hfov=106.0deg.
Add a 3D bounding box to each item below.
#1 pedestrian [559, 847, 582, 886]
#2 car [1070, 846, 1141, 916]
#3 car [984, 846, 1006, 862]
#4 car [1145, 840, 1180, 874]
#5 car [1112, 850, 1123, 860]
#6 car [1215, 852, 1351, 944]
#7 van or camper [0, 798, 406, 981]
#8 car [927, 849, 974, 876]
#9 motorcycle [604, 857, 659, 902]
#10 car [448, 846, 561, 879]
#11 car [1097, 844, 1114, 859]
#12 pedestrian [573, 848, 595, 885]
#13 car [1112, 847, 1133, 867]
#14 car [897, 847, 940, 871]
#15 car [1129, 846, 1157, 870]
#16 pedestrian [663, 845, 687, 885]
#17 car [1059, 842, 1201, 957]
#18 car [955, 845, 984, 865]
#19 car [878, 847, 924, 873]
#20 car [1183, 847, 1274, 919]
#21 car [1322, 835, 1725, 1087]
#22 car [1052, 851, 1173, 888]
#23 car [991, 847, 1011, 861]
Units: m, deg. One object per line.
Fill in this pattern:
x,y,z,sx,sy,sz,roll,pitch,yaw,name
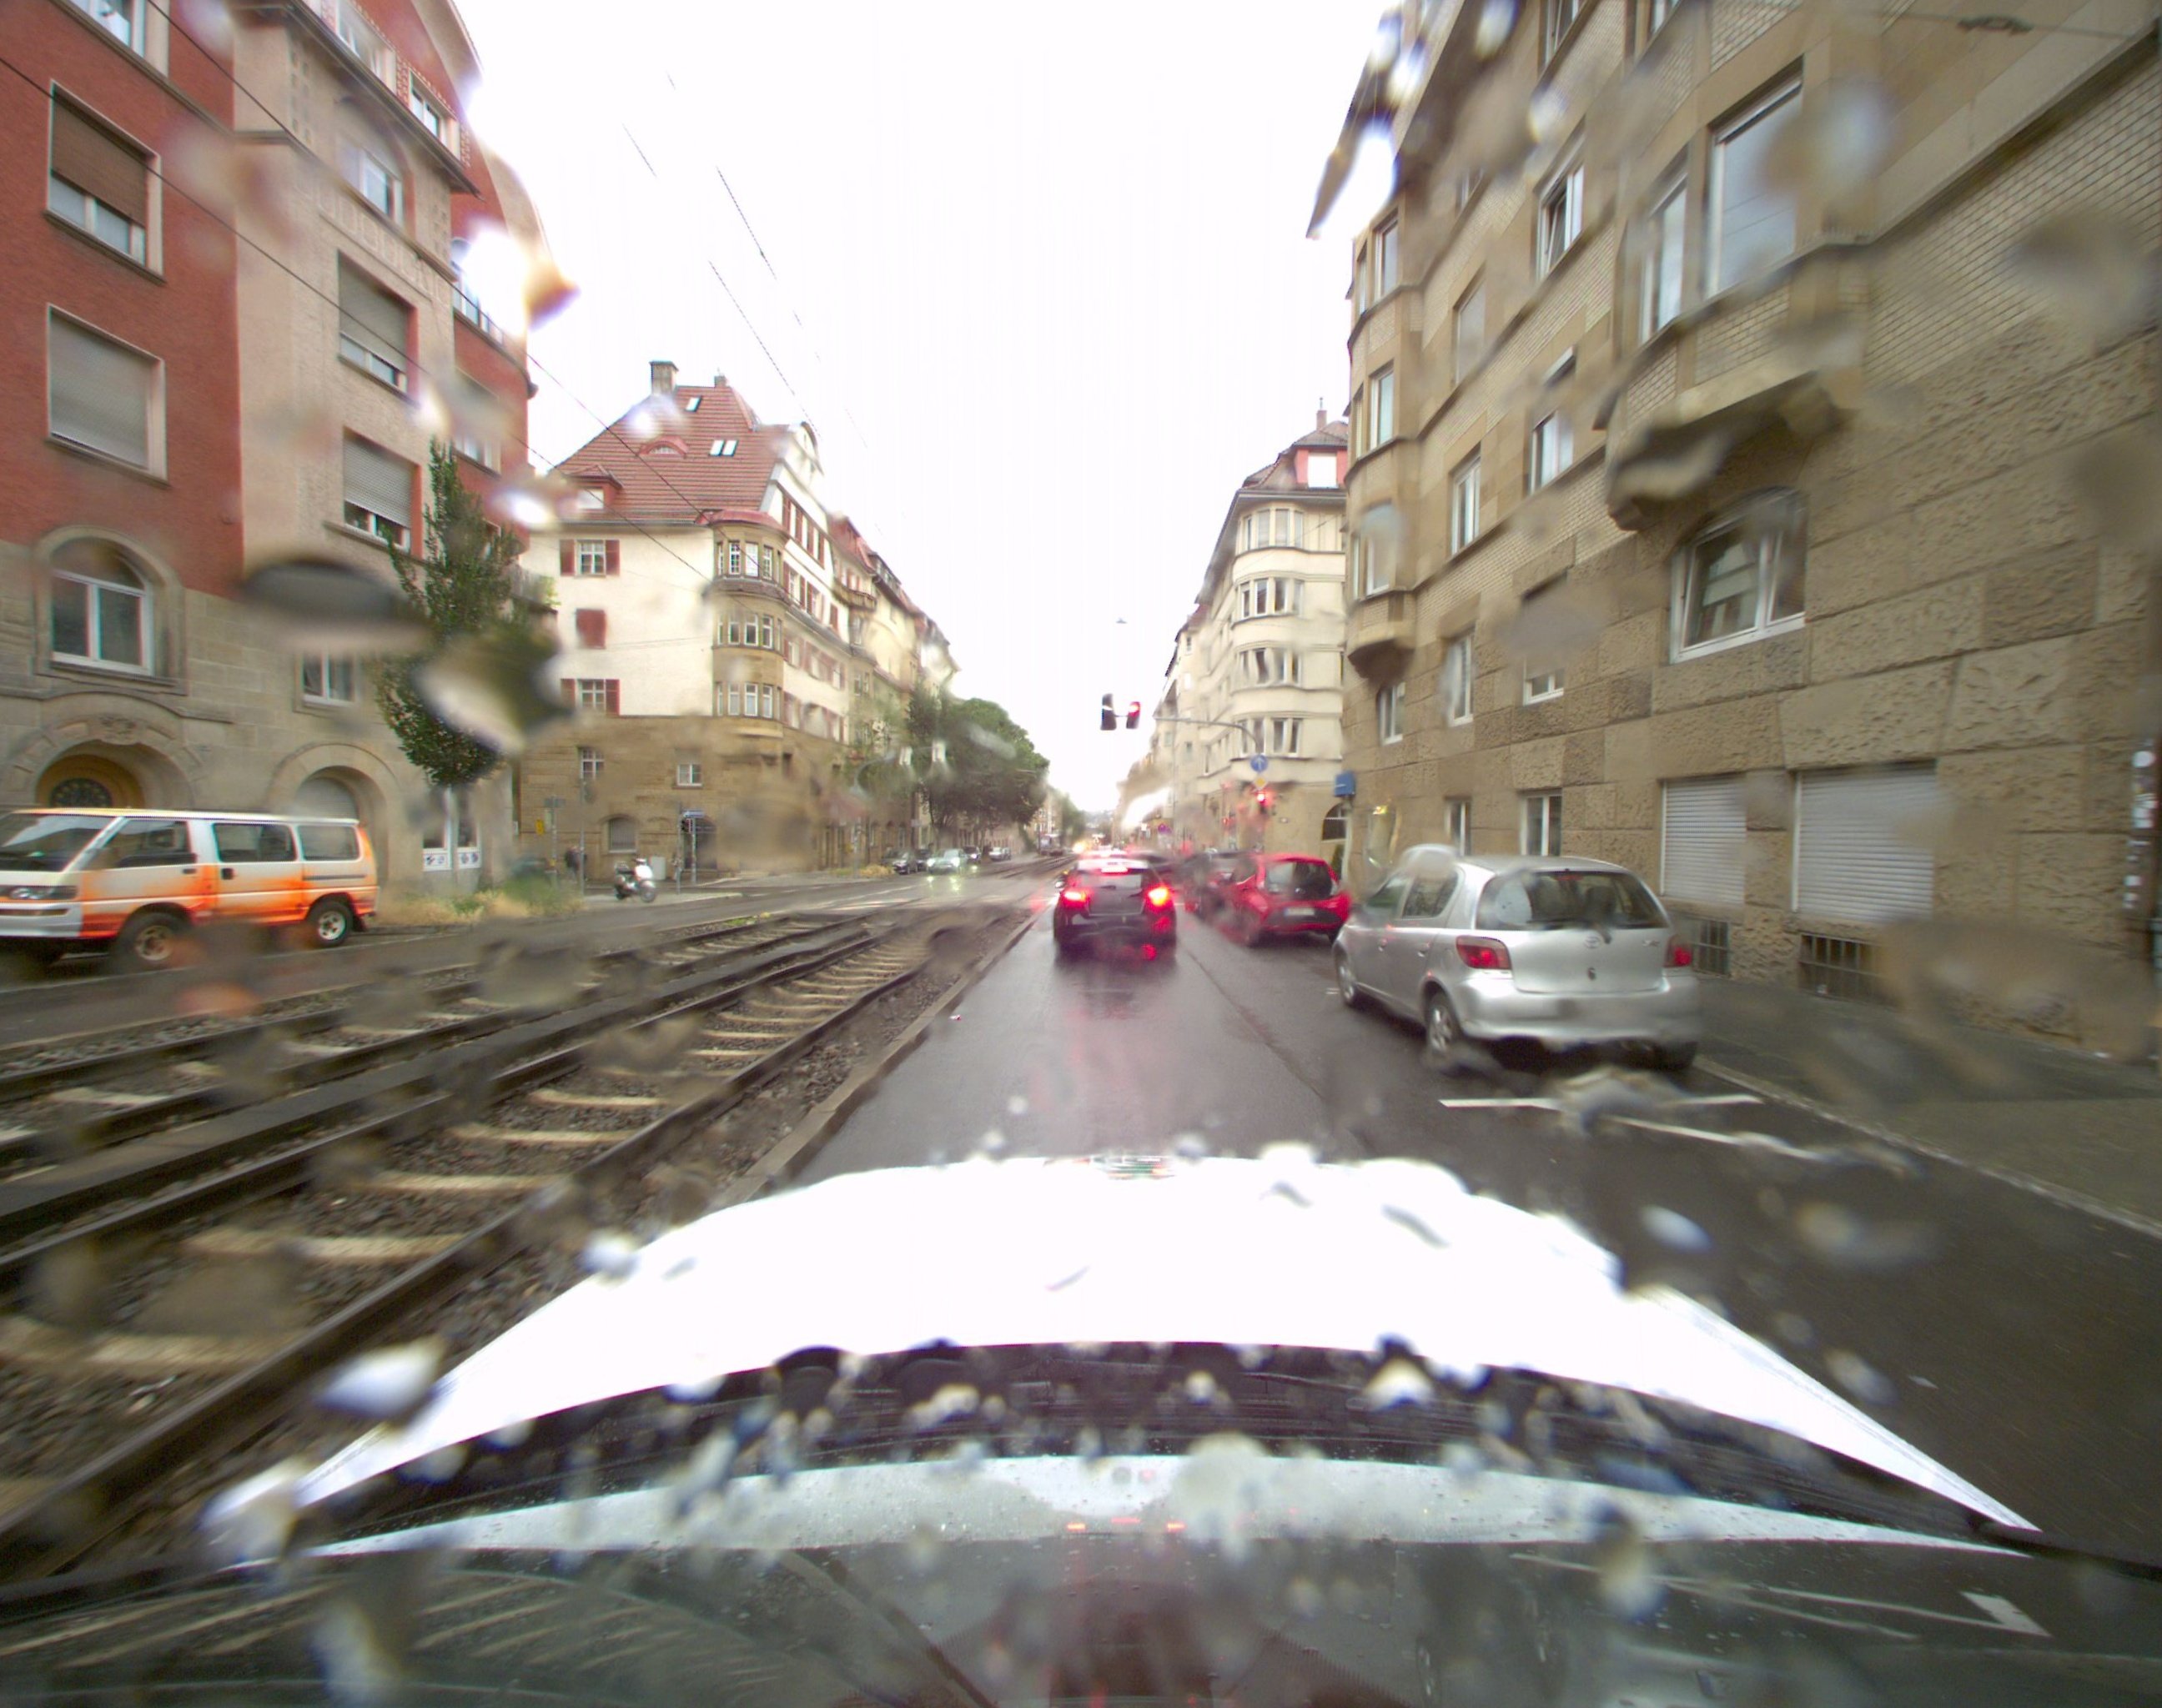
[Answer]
-23.216,0.565,37.017,0.605,1.733,0.643,1,0,2,pedestrian
0.612,0.590,19.863,1.530,1.510,4.002,1,0,2,car
-9.853,0.021,93.264,1.986,1.794,4.002,1,0,2,car
5.025,0.196,50.783,1.891,2.028,4.177,0,-1,2,car
6.596,0.128,145.711,1.902,1.706,4.002,0,0,2,car
3.387,0.676,14.180,1.597,1.419,3.148,0,0,0,car
-12.021,0.340,10.887,1.987,1.901,4.698,2,0,0,van or camper
-7.925,0.504,49.920,1.786,1.548,4.008,-1,0,7,car
-11.866,0.668,21.479,1.423,1.134,0.624,1,0,31,motorcycle
-24.239,0.349,34.313,3.608,1.311,1.561,1,0,1,car
2.841,-0.325,94.069,1.914,1.655,4.003,1,0,2,car
-23.050,0.573,37.797,0.605,1.733,0.643,1,0,2,pedestrian
3.782,0.311,74.706,1.846,1.797,3.813,0,-1,2,car
-10.969,0.309,55.134,1.986,1.517,4.002,0,0,2,car
4.768,0.311,63.137,1.764,1.776,3.996,0,-1,-2,car
-18.292,0.490,36.693,0.605,1.733,0.865,1,0,2,pedestrian
0.685,0.636,13.013,1.939,1.564,3.642,0,-1,0,car
-10.333,0.106,75.797,1.986,1.794,4.002,1,0,2,car
-10.926,0.367,49.738,1.765,1.464,4.002,0,0,2,car
3.418,0.617,19.465,1.543,1.508,4.002,1,0,2,car
3.283,0.662,6.842,1.631,1.543,3.468,1,0,3,car
1.125,0.561,30.263,4.260,1.288,1.996,1,0,-6,car
-9.947,-0.033,101.332,1.925,1.728,4.188,1,0,2,car
